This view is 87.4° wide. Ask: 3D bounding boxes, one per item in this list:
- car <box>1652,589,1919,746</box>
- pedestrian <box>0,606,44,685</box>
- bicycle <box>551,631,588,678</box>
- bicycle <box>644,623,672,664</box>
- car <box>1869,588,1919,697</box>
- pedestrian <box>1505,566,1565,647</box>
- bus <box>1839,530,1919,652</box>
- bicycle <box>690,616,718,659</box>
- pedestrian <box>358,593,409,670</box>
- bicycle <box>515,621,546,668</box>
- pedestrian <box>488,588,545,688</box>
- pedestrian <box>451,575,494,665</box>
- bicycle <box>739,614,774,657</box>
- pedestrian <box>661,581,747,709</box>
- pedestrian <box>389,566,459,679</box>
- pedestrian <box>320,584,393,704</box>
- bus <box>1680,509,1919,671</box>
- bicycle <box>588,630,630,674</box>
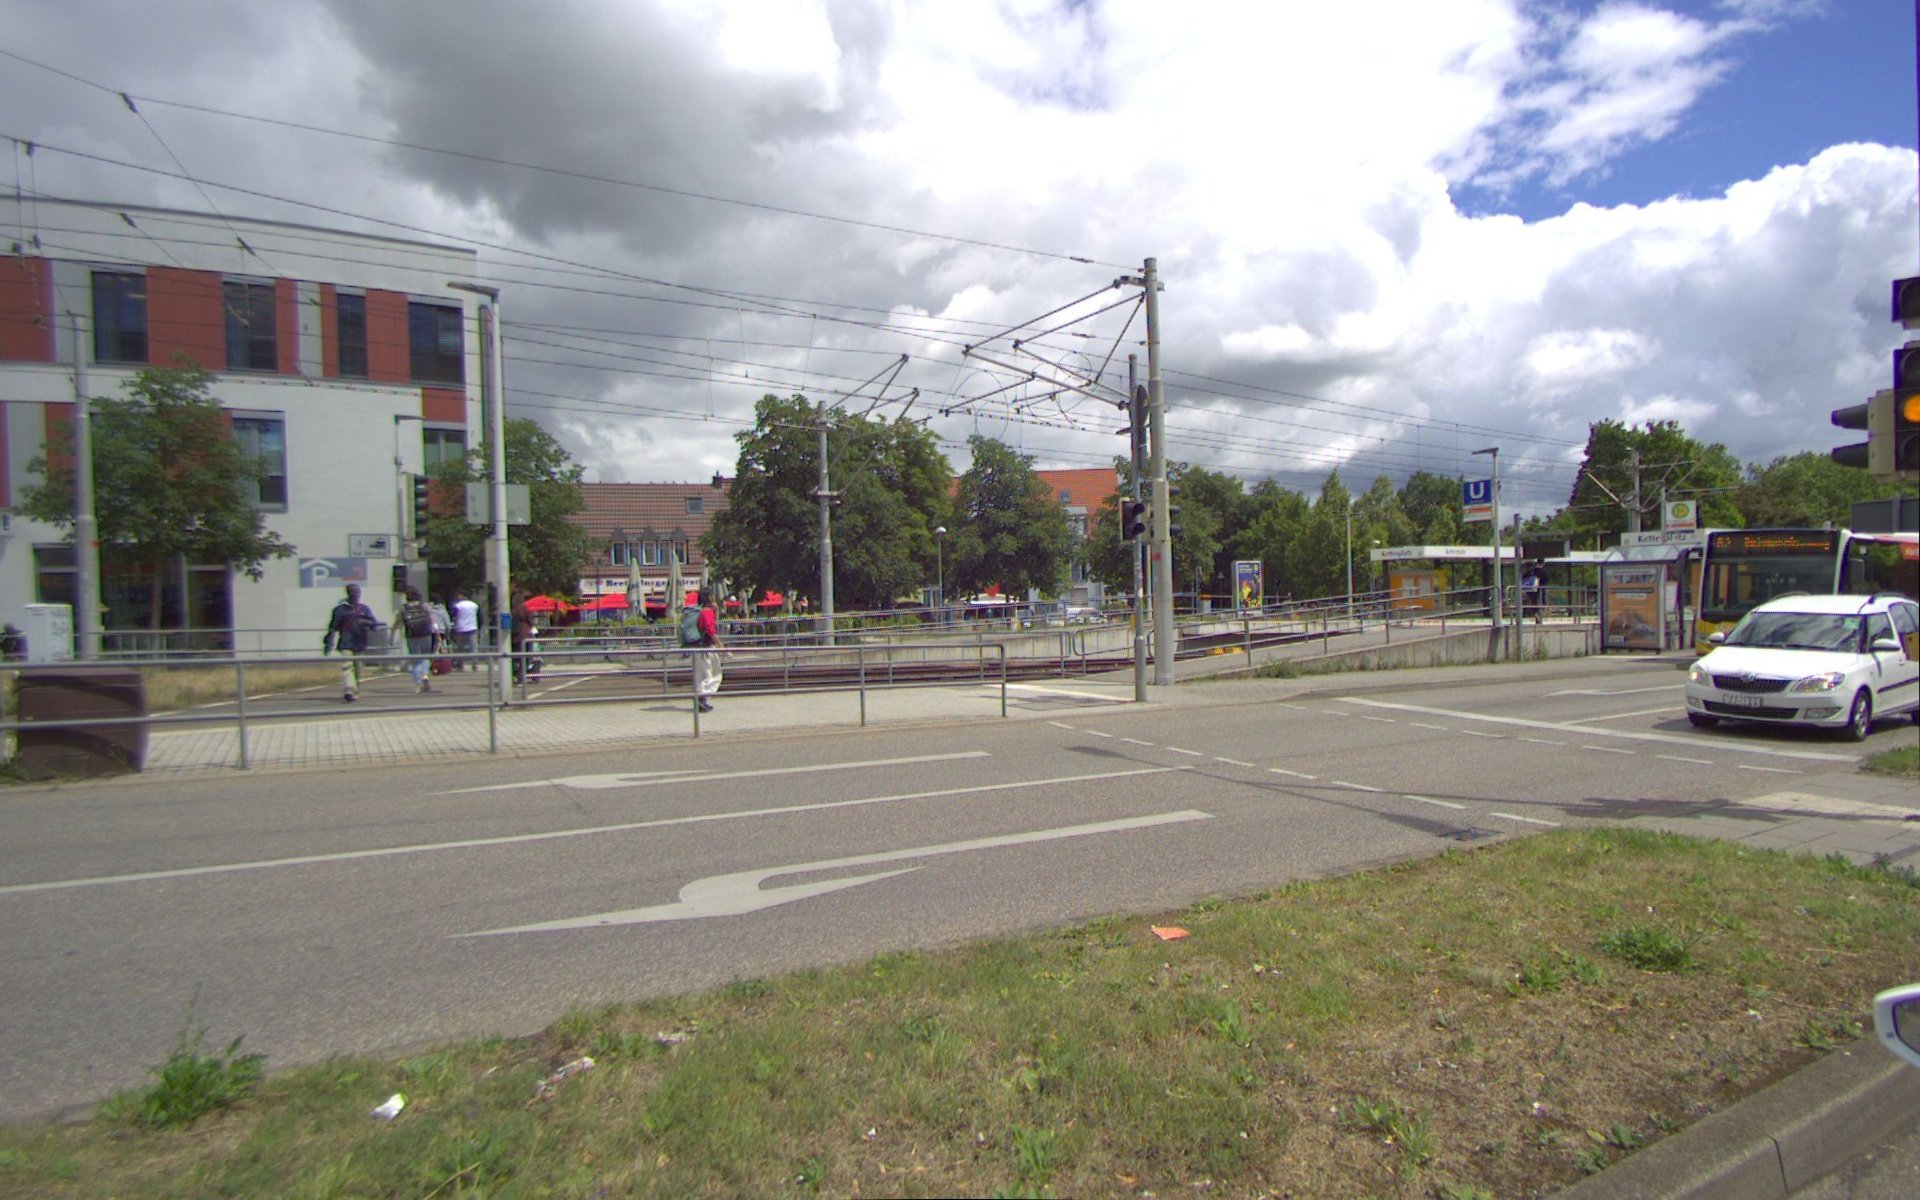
[{"bbox_3d":[10.506,0.701,12.487,4.032,1.671,1.690,0,1,-32],"label":"car"},{"bbox_3d":[-25.316,1.204,26.556,1.119,2.040,1.255,0,-1,-12],"label":"pedestrian"},{"bbox_3d":[-9.917,1.359,25.477,0.685,1.112,1.891,0,-1,-28],"label":"bicycle"},{"bbox_3d":[-8.024,1.129,26.634,0.683,1.043,1.898,0,-1,-18],"label":"bicycle"},{"bbox_3d":[17.203,0.610,16.854,4.456,1.685,1.752,-2,0,-33],"label":"car"},{"bbox_3d":[14.925,0.182,26.087,1.016,2.040,0.966,0,-1,-30],"label":"pedestrian"},{"bbox_3d":[28.016,-0.221,28.225,8.866,3.111,2.710,0,0,-33],"label":"bus"},{"bbox_3d":[-6.848,0.979,26.838,0.599,1.112,1.897,0,-1,-18],"label":"bicycle"},{"bbox_3d":[-13.470,0.735,23.463,0.660,1.757,0.832,-1,-1,37],"label":"pedestrian"},{"bbox_3d":[-10.708,1.108,25.025,0.684,1.112,1.894,0,-2,-24],"label":"bicycle"},{"bbox_3d":[-7.397,0.625,16.745,0.637,1.617,0.825,1,-1,-42],"label":"pedestrian"},{"bbox_3d":[-10.267,0.425,21.157,0.763,1.846,0.903,0,-1,-29],"label":"pedestrian"},{"bbox_3d":[-5.557,0.948,27.368,0.683,1.112,1.897,-3,0,-18],"label":"bicycle"},{"bbox_3d":[-3.269,0.545,12.801,0.826,1.561,0.794,1,1,-34],"label":"pedestrian"},{"bbox_3d":[-8.213,0.344,15.396,0.909,1.658,0.858,0,-1,-29],"label":"pedestrian"},{"bbox_3d":[-8.446,0.610,14.054,0.824,1.625,0.666,-1,-2,45],"label":"pedestrian"},{"bbox_3d":[20.329,-0.204,23.214,9.598,3.151,2.710,0,0,-33],"label":"bus"},{"bbox_3d":[-9.126,1.323,26.071,0.686,1.077,1.889,1,-1,-30],"label":"bicycle"}]
